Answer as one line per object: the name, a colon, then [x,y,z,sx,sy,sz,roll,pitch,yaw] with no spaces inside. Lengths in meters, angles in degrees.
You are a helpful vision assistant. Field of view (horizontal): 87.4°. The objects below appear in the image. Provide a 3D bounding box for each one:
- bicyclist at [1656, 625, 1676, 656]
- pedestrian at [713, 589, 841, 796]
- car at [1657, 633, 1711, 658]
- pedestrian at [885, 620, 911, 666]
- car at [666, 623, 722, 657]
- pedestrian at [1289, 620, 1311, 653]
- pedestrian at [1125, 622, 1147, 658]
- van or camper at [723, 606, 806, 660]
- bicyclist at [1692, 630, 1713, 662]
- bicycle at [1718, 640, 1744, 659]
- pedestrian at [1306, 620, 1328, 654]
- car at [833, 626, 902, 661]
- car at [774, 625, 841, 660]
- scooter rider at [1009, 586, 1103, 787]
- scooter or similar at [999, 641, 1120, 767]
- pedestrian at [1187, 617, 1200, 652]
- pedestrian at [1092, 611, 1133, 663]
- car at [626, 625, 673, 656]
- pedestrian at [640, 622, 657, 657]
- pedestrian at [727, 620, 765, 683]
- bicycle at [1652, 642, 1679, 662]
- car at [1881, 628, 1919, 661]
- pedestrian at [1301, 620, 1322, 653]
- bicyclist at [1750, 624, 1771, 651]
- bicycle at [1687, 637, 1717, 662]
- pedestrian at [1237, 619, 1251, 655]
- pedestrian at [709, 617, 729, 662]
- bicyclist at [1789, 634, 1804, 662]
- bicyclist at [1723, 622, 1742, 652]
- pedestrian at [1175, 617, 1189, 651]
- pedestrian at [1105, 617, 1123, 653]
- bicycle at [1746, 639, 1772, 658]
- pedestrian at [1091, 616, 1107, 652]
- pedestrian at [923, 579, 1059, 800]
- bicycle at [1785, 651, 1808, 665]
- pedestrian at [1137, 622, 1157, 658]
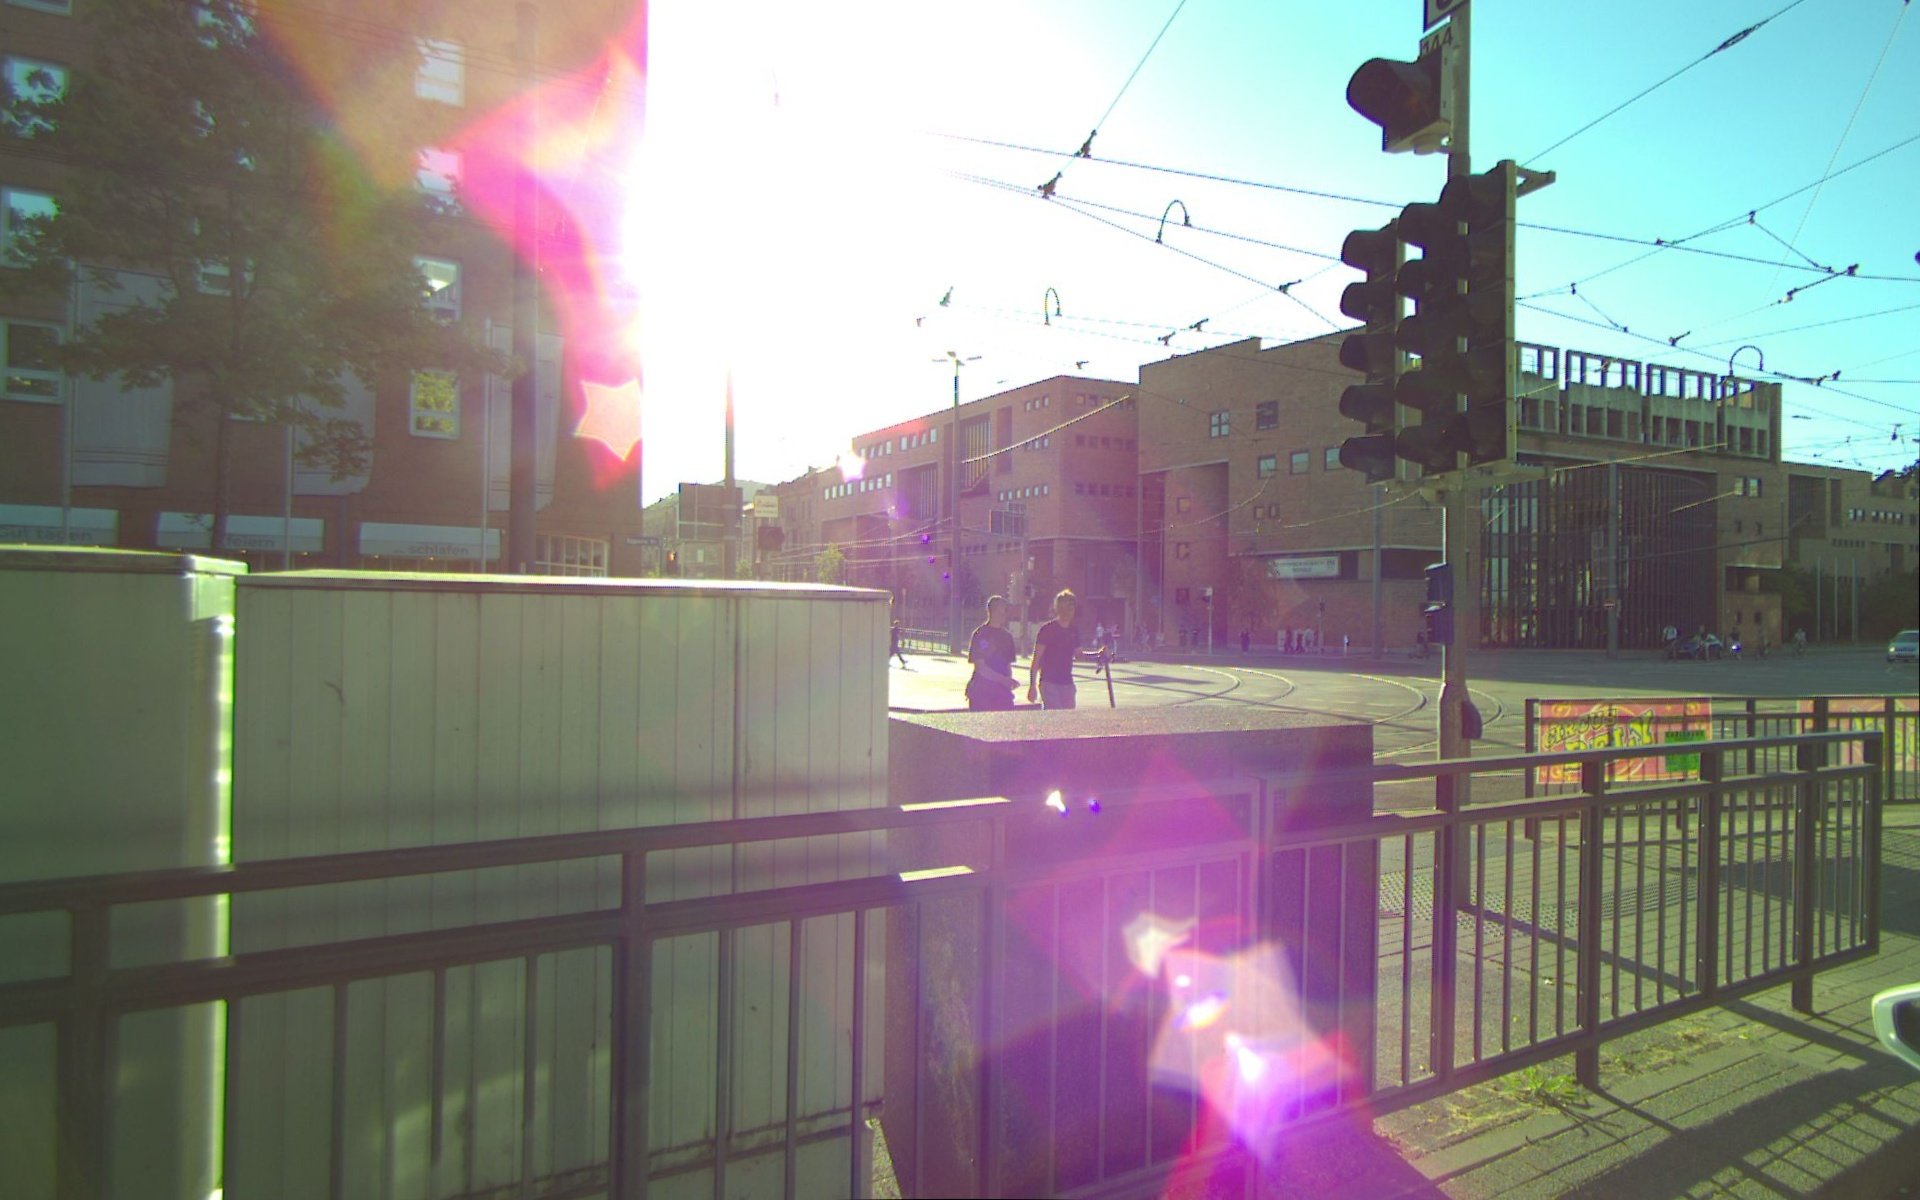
bicyclist: [36.195,2.065,51.510,0.752,1.595,0.655,1,-2,-39]
pedestrian: [-1.750,0.826,9.504,0.944,1.822,0.987,2,0,-25]
car: [42.477,2.640,58.918,3.680,1.394,1.570,1,-2,-36]
pedestrian: [-2.443,1.706,39.870,0.797,1.801,0.623,2,0,-30]
car: [-14.373,2.136,54.207,1.739,1.750,3.963,1,-2,-33]
pedestrian: [21.497,2.280,63.521,0.841,2.079,1.001,1,-1,-32]
pedestrian: [9.747,2.203,55.618,0.917,2.010,0.780,1,-1,-32]
van or camper: [-9.392,1.564,47.926,1.981,2.451,4.980,1,-2,-36]
bicyclist: [37.694,2.318,50.990,0.752,1.581,0.677,1,-2,-38]
bicycle: [42.214,2.706,54.990,1.884,1.011,0.688,1,-2,-37]
pedestrian: [22.293,2.300,62.745,0.841,2.079,1.001,1,-1,-32]
car: [-4.812,2.234,51.807,1.978,1.709,3.965,1,-2,-33]
car: [-7.802,2.141,51.182,1.978,1.709,3.965,1,-2,-33]
scooter rider: [0.929,0.824,9.767,0.670,1.877,0.564,3,-2,-25]
scooter or similar: [0.932,0.956,9.653,0.639,1.095,1.199,1,-1,-25]
pedestrian: [14.045,2.075,60.424,0.603,2.040,0.731,0,-1,30]
pedestrian: [6.033,1.460,39.816,1.193,2.040,1.028,2,0,-30]
car: [-18.643,2.407,60.230,1.738,1.750,3.965,1,-2,-32]
pedestrian: [-16.625,2.088,53.624,0.597,1.843,0.848,1,-1,-38]
pedestrian: [-6.187,1.484,29.016,0.860,1.775,0.670,1,-2,-39]
bicycle: [36.216,2.654,51.548,1.886,1.011,0.647,2,-2,-40]
car: [48.985,2.278,51.675,3.962,1.598,1.610,1,-2,-36]
pedestrian: [22.486,2.313,64.253,0.841,2.079,1.001,1,-1,-32]
bicyclist: [45.605,2.129,57.223,1.022,1.494,0.649,2,-1,-35]
bicycle: [37.646,2.499,50.941,2.092,1.157,0.680,-1,0,-39]
pedestrian: [16.462,2.146,58.216,0.603,2.040,0.731,0,-1,30]
pedestrian: [-10.971,1.782,45.743,0.597,2.040,0.848,1,-1,-38]
bicyclist: [50.077,2.876,60.134,0.509,1.647,0.583,1,-1,-34]
bicyclist: [42.447,2.025,55.192,0.752,1.590,0.656,1,-2,-37]
pedestrian: [13.443,2.081,60.805,0.603,2.040,0.731,0,-1,30]
pedestrian: [8.717,1.964,56.988,0.644,2.040,0.780,1,-1,-32]
bicycle: [45.392,2.757,57.048,1.993,1.064,0.647,2,-1,-35]
pedestrian: [7.900,1.941,57.177,0.607,2.040,0.727,1,-1,-32]
pedestrian: [0.272,0.796,9.404,0.843,1.908,1.164,1,-1,-25]
bicycle: [50.102,3.465,60.146,1.948,0.781,0.586,1,-2,-35]
pedestrian: [10.438,2.226,56.102,0.742,2.010,0.780,1,-1,-32]
